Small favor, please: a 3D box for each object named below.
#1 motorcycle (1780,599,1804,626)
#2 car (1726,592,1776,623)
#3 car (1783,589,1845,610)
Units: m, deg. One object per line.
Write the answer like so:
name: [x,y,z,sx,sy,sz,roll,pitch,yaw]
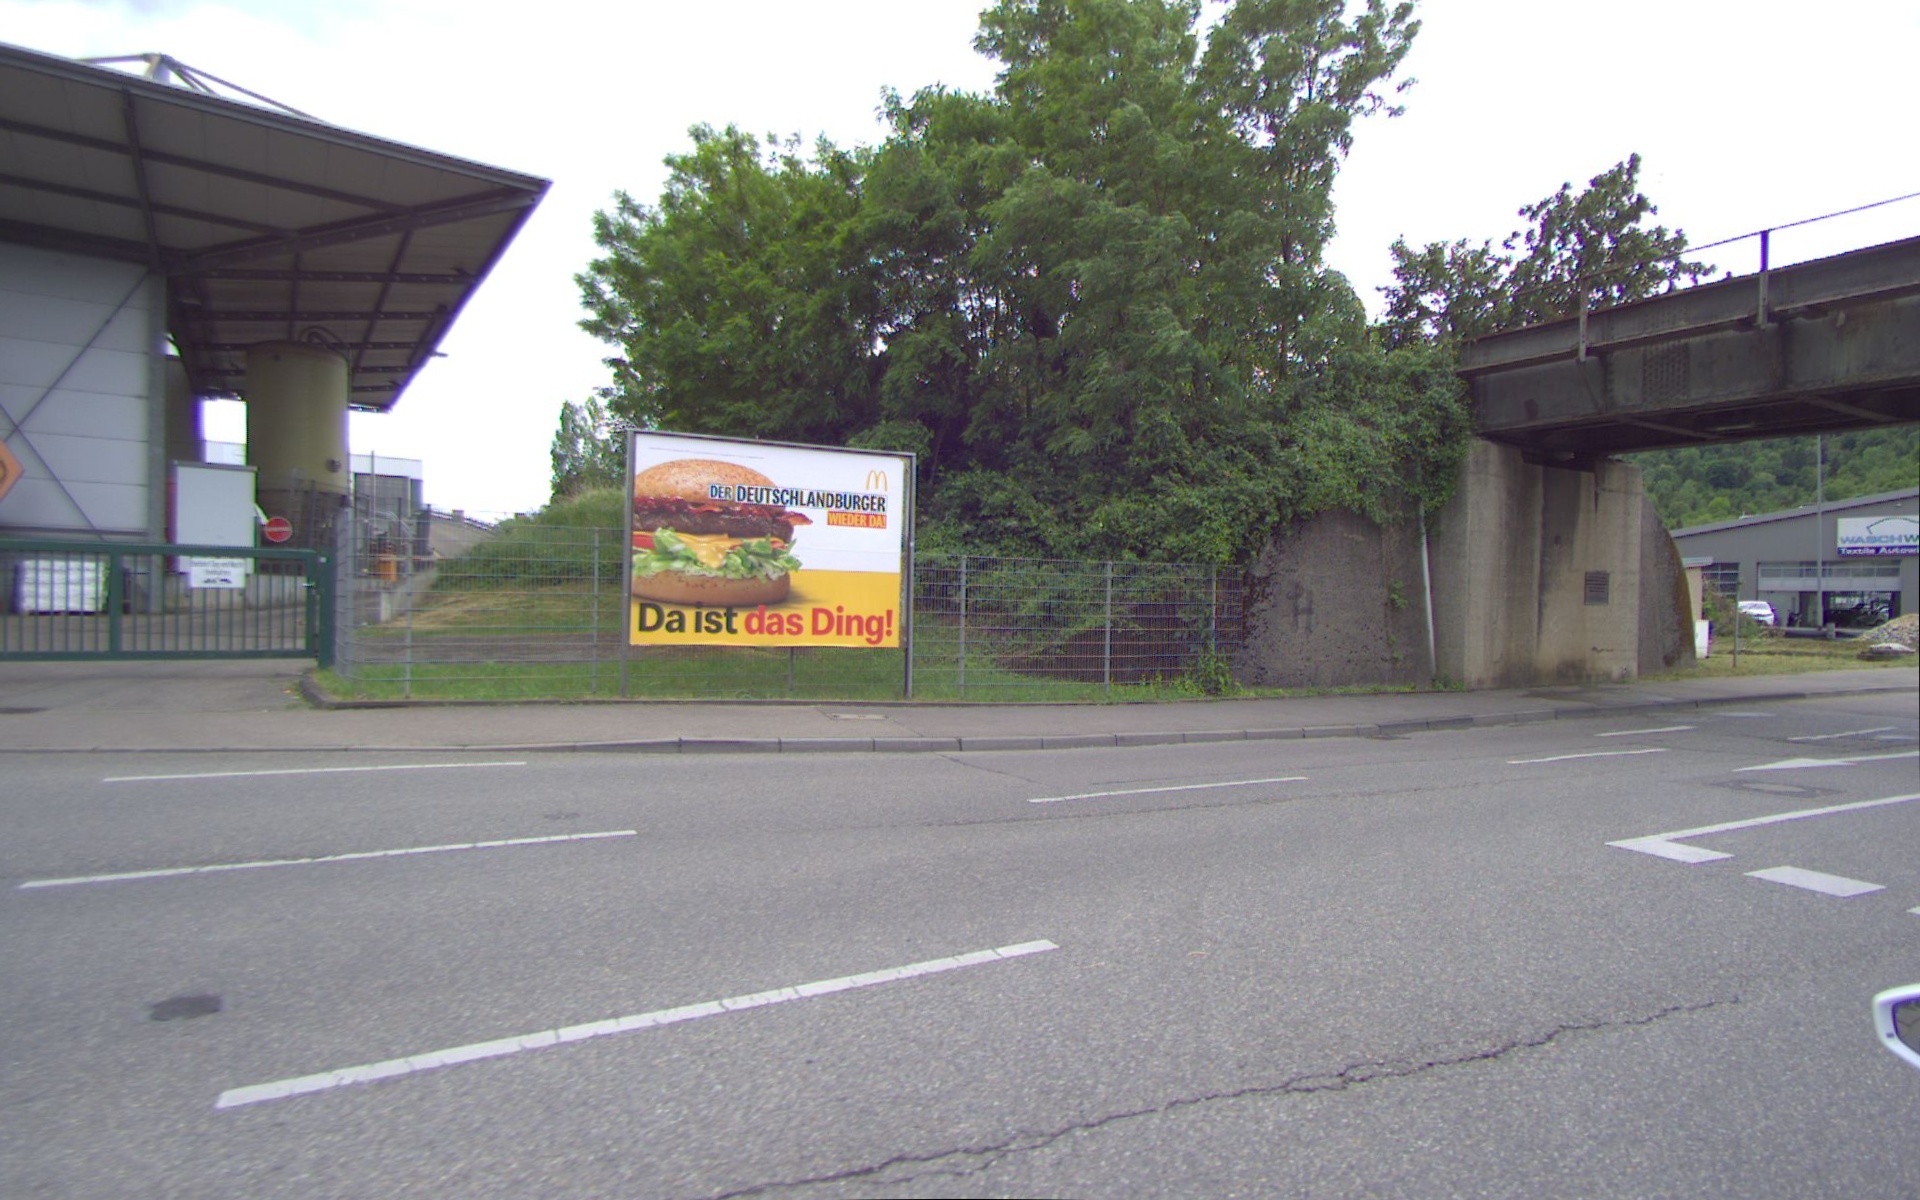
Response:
motorcycle: [56.706,0.851,68.424,2.344,1.733,0.833,1,1,-40]
car: [41.573,0.390,52.873,1.968,1.556,3.984,2,1,37]
car: [73.073,-0.044,85.996,3.942,1.751,1.989,2,1,42]
